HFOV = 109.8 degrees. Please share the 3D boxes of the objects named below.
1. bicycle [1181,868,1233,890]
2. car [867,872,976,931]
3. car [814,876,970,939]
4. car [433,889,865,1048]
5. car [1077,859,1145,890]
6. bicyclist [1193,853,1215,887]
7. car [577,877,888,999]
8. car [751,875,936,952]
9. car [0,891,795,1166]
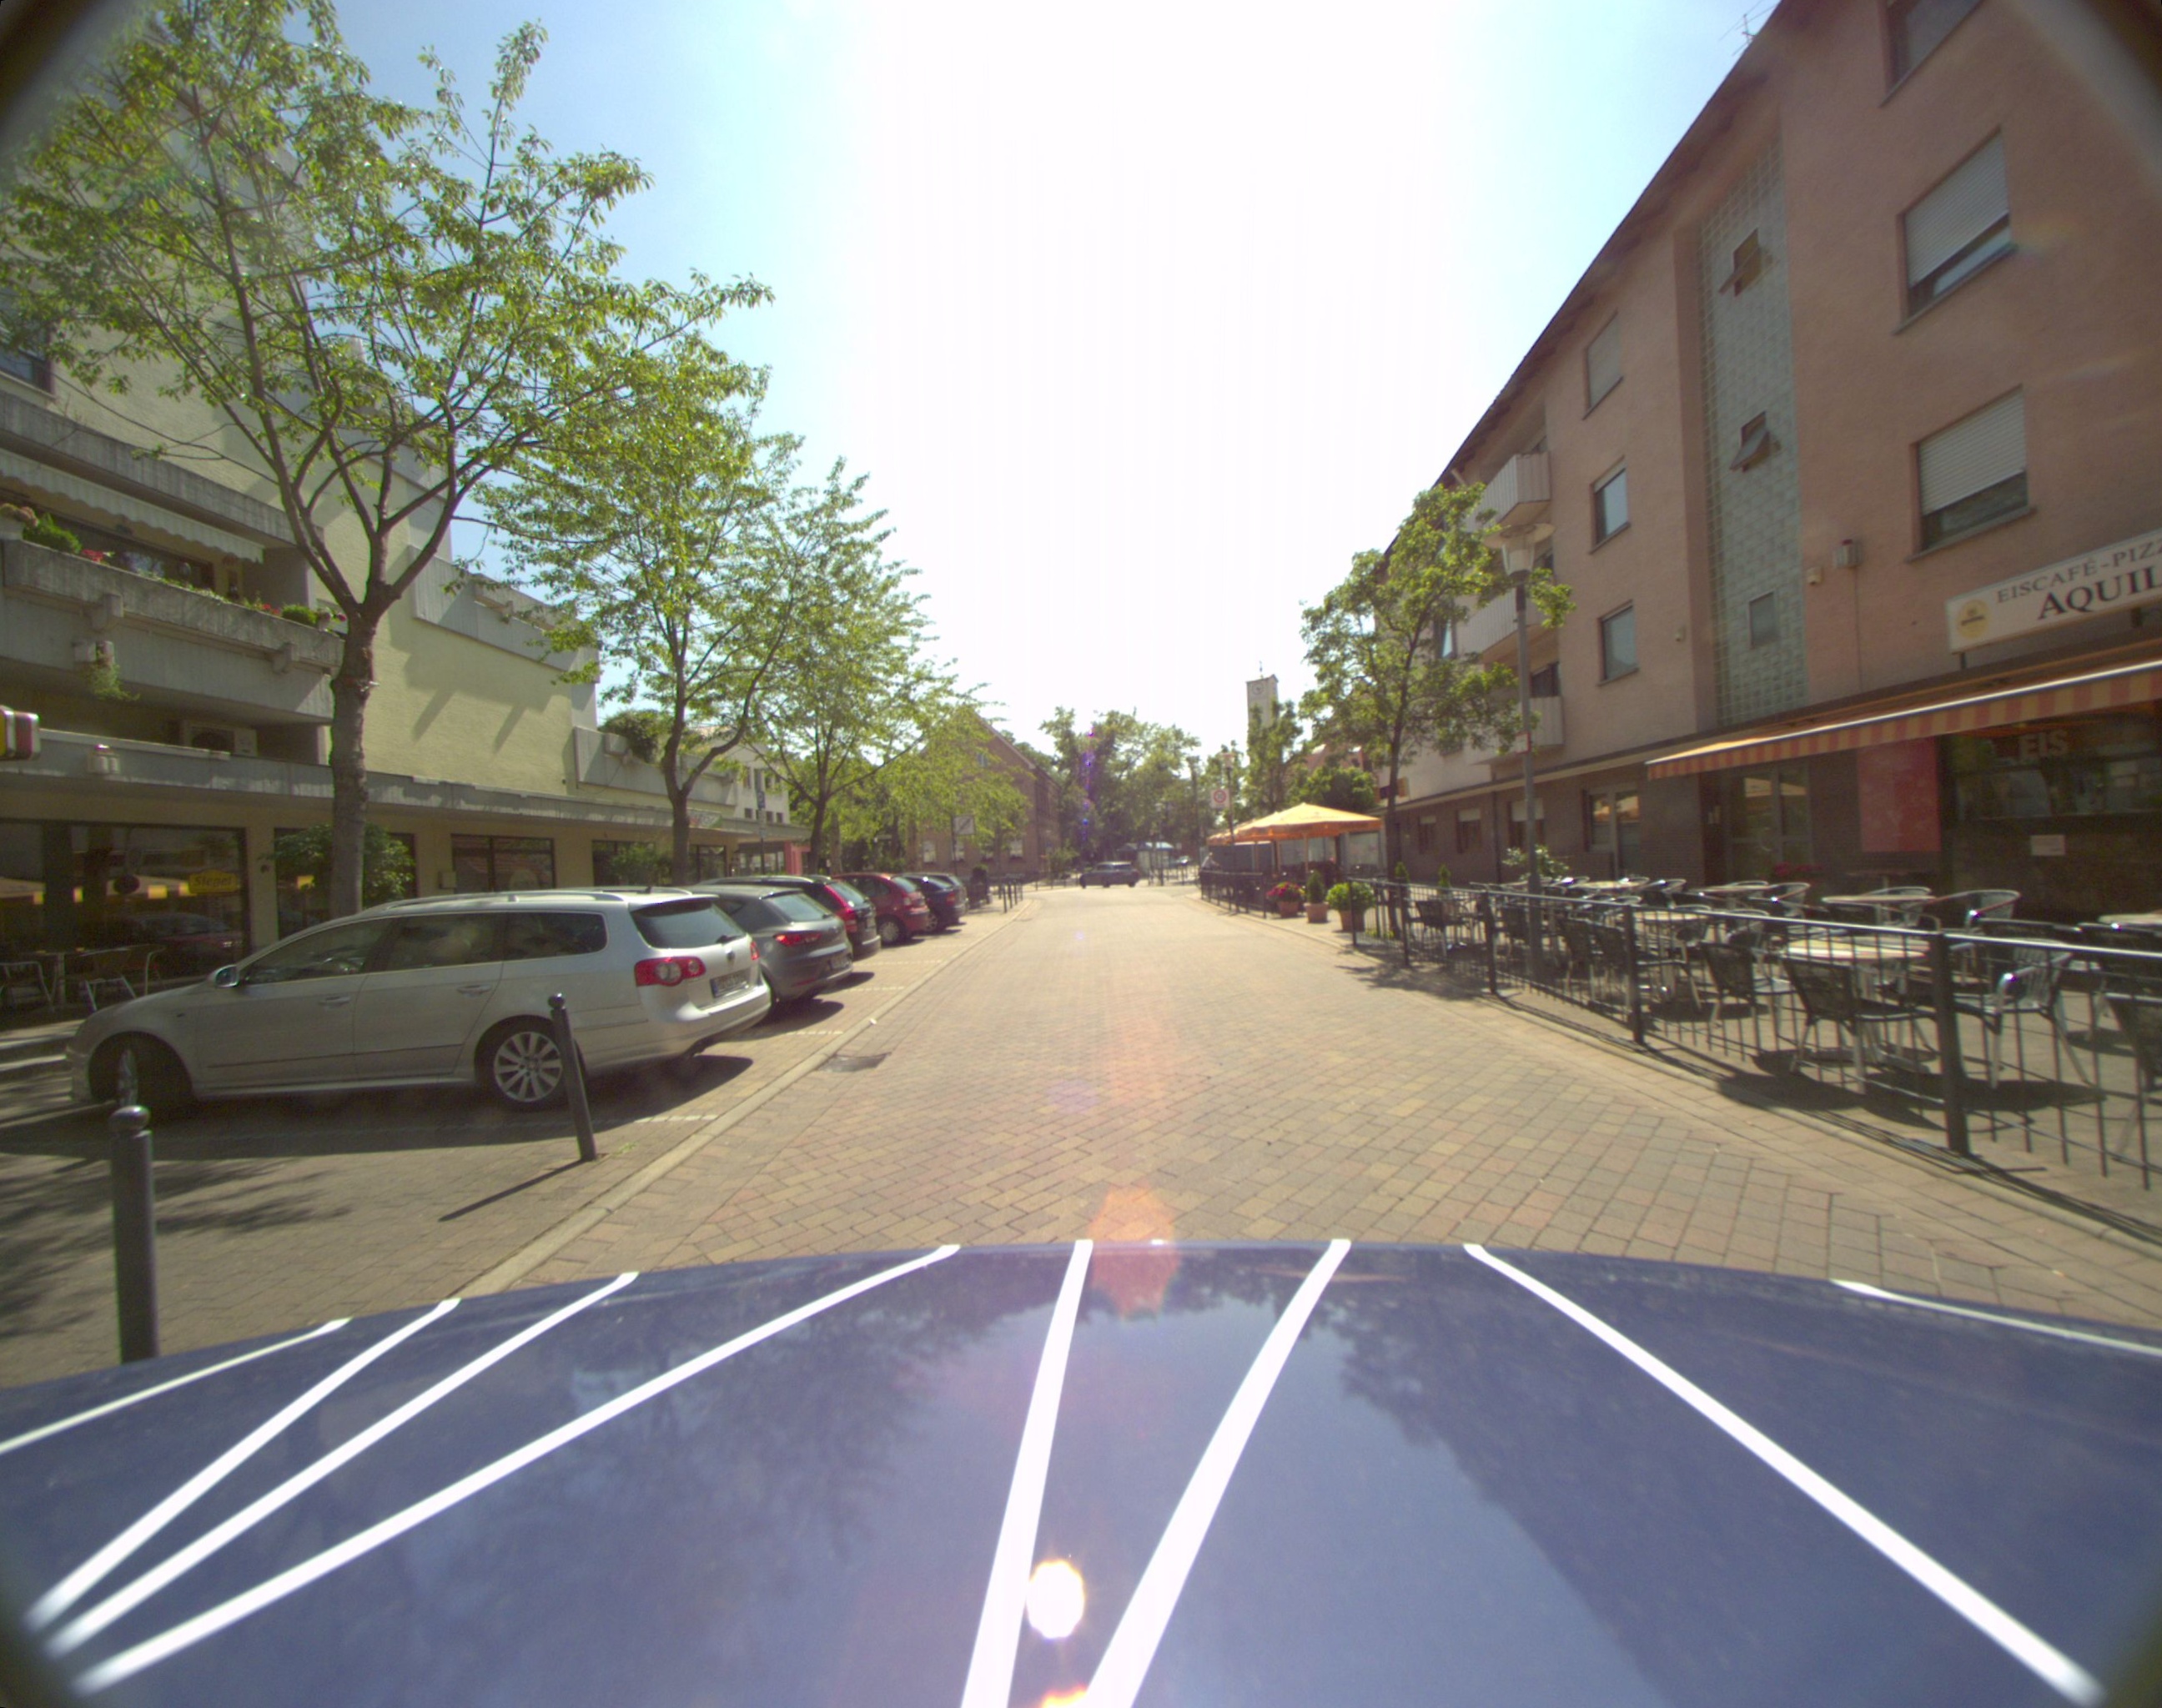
[{"bbox_3d":[6.013,1.188,36.334,2.342,0.919,0.775,-3,0,1],"label":"bicycle"},{"bbox_3d":[-4.415,1.303,21.212,2.703,1.437,1.268,-3,0,1],"label":"car"},{"bbox_3d":[-4.540,1.277,18.514,3.401,1.382,1.460,-1,0,1],"label":"car"},{"bbox_3d":[-4.538,1.181,8.368,3.800,1.423,1.614,-2,0,1],"label":"car"},{"bbox_3d":[1.643,1.175,43.879,1.906,1.547,5.024,-3,0,-23],"label":"car"},{"bbox_3d":[5.870,0.745,36.312,0.860,1.568,0.788,-3,0,-1],"label":"bicyclist"},{"bbox_3d":[-4.823,1.142,10.863,3.652,1.508,1.633,-1,0,1],"label":"car"},{"bbox_3d":[-4.933,1.228,16.088,3.401,1.455,1.520,-1,0,1],"label":"car"},{"bbox_3d":[-4.873,1.193,5.860,4.586,1.534,1.807,-3,0,1],"label":"car"}]
